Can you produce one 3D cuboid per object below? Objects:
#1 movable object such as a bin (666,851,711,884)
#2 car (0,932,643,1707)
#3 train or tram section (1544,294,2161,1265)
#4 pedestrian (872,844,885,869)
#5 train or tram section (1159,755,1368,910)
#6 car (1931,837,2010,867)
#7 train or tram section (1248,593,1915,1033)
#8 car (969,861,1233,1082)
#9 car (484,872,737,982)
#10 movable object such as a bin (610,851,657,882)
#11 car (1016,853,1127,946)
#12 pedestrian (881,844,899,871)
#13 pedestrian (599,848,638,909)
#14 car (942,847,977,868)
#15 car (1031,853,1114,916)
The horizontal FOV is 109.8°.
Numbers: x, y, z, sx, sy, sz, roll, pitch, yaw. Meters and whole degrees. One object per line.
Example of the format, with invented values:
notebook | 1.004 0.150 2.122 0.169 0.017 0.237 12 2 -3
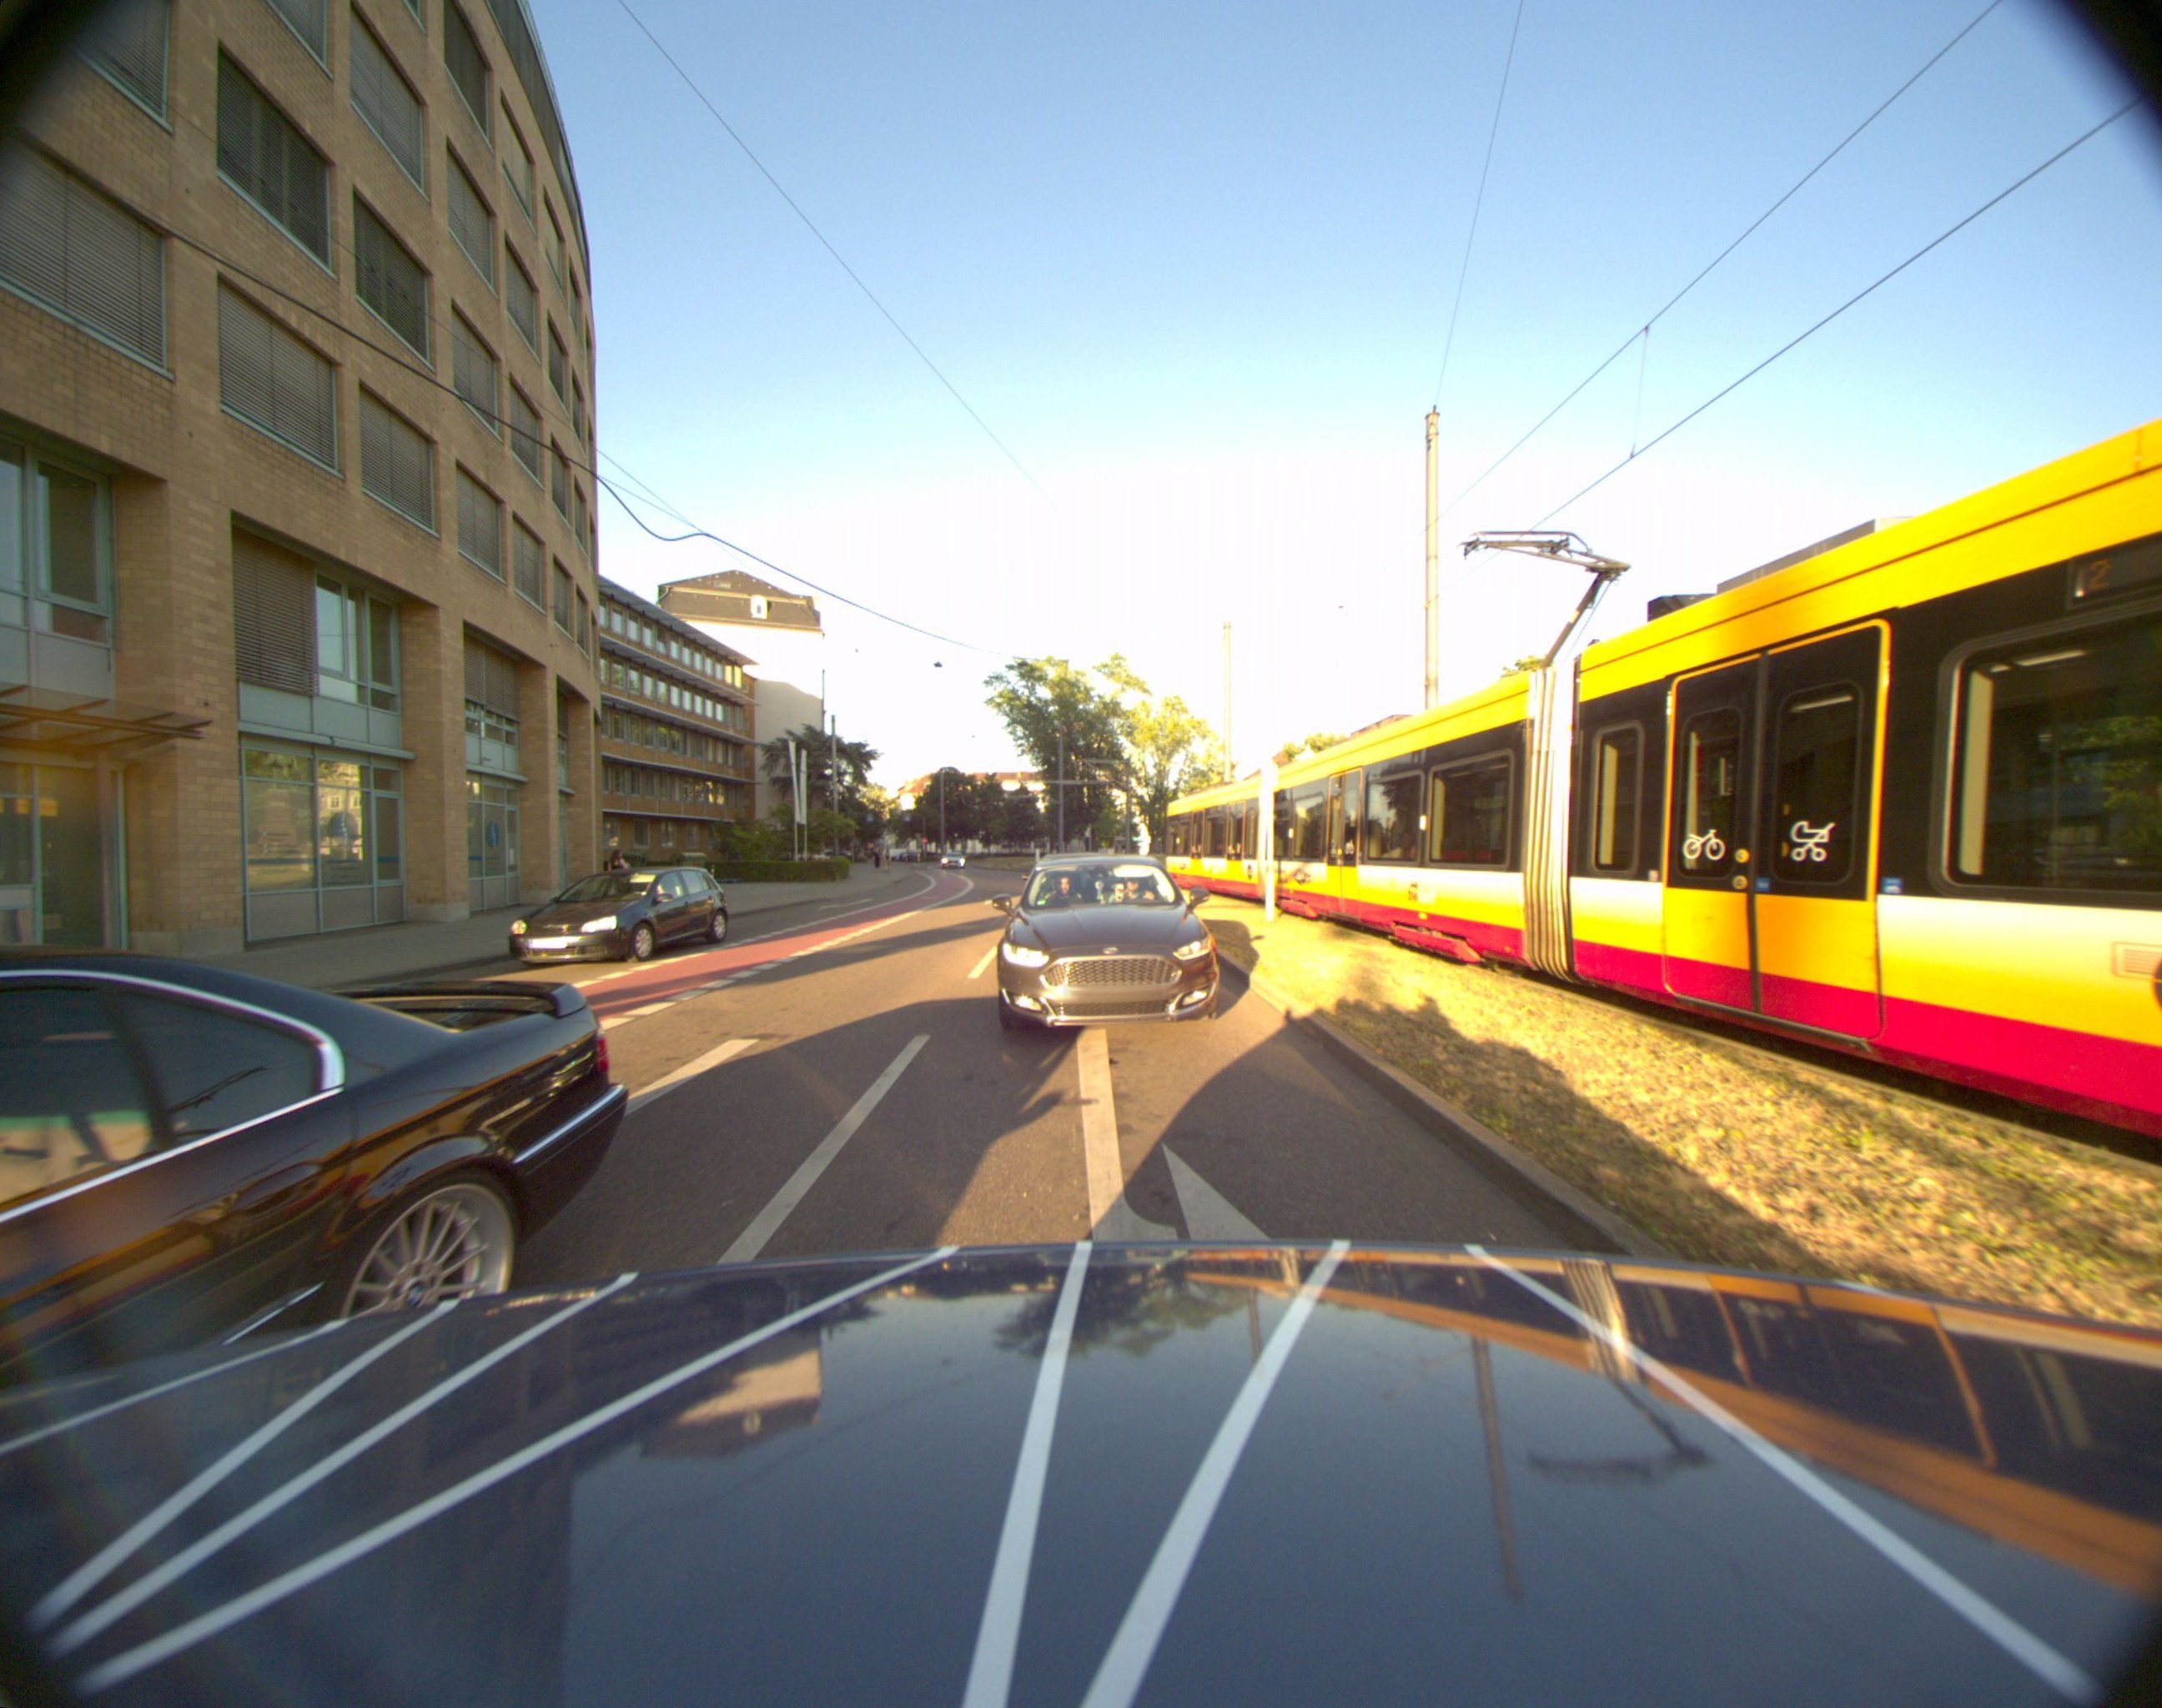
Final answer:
movable object such as a bin | -18.323 0.615 35.528 1.427 1.451 1.332 -1 1 -3
car | -2.778 1.049 0.621 1.998 1.377 4.739 -1 1 1
train or tram section | 5.602 -0.254 0.174 2.916 3.717 13.215 -1 1 0
pedestrian | -14.920 0.184 55.982 0.728 1.797 0.724 -1 1 1
train or tram section | 5.053 -0.605 24.392 2.914 3.717 12.184 -1 1 -4
car | 58.612 -0.154 50.174 1.995 1.868 4.007 0 1 27
train or tram section | 5.611 -0.430 12.571 2.885 3.717 12.180 -1 1 0
car | 0.188 0.873 7.829 1.890 1.477 4.725 0 1 1
car | -7.527 1.076 12.703 1.759 1.379 3.999 -1 1 -1
movable object such as a bin | -21.240 0.578 36.108 1.427 1.451 1.332 -1 1 -2
car | -0.126 0.783 15.429 1.897 1.527 4.704 0 1 1
pedestrian | -13.503 0.252 53.772 0.911 1.884 1.126 -1 1 1
pedestrian | -12.945 0.681 21.287 0.628 1.672 0.713 -1 1 -3
car | -10.429 0.287 65.312 1.998 1.740 4.001 0 1 6
car | -0.262 0.745 20.529 1.999 1.453 4.142 -1 1 -2
